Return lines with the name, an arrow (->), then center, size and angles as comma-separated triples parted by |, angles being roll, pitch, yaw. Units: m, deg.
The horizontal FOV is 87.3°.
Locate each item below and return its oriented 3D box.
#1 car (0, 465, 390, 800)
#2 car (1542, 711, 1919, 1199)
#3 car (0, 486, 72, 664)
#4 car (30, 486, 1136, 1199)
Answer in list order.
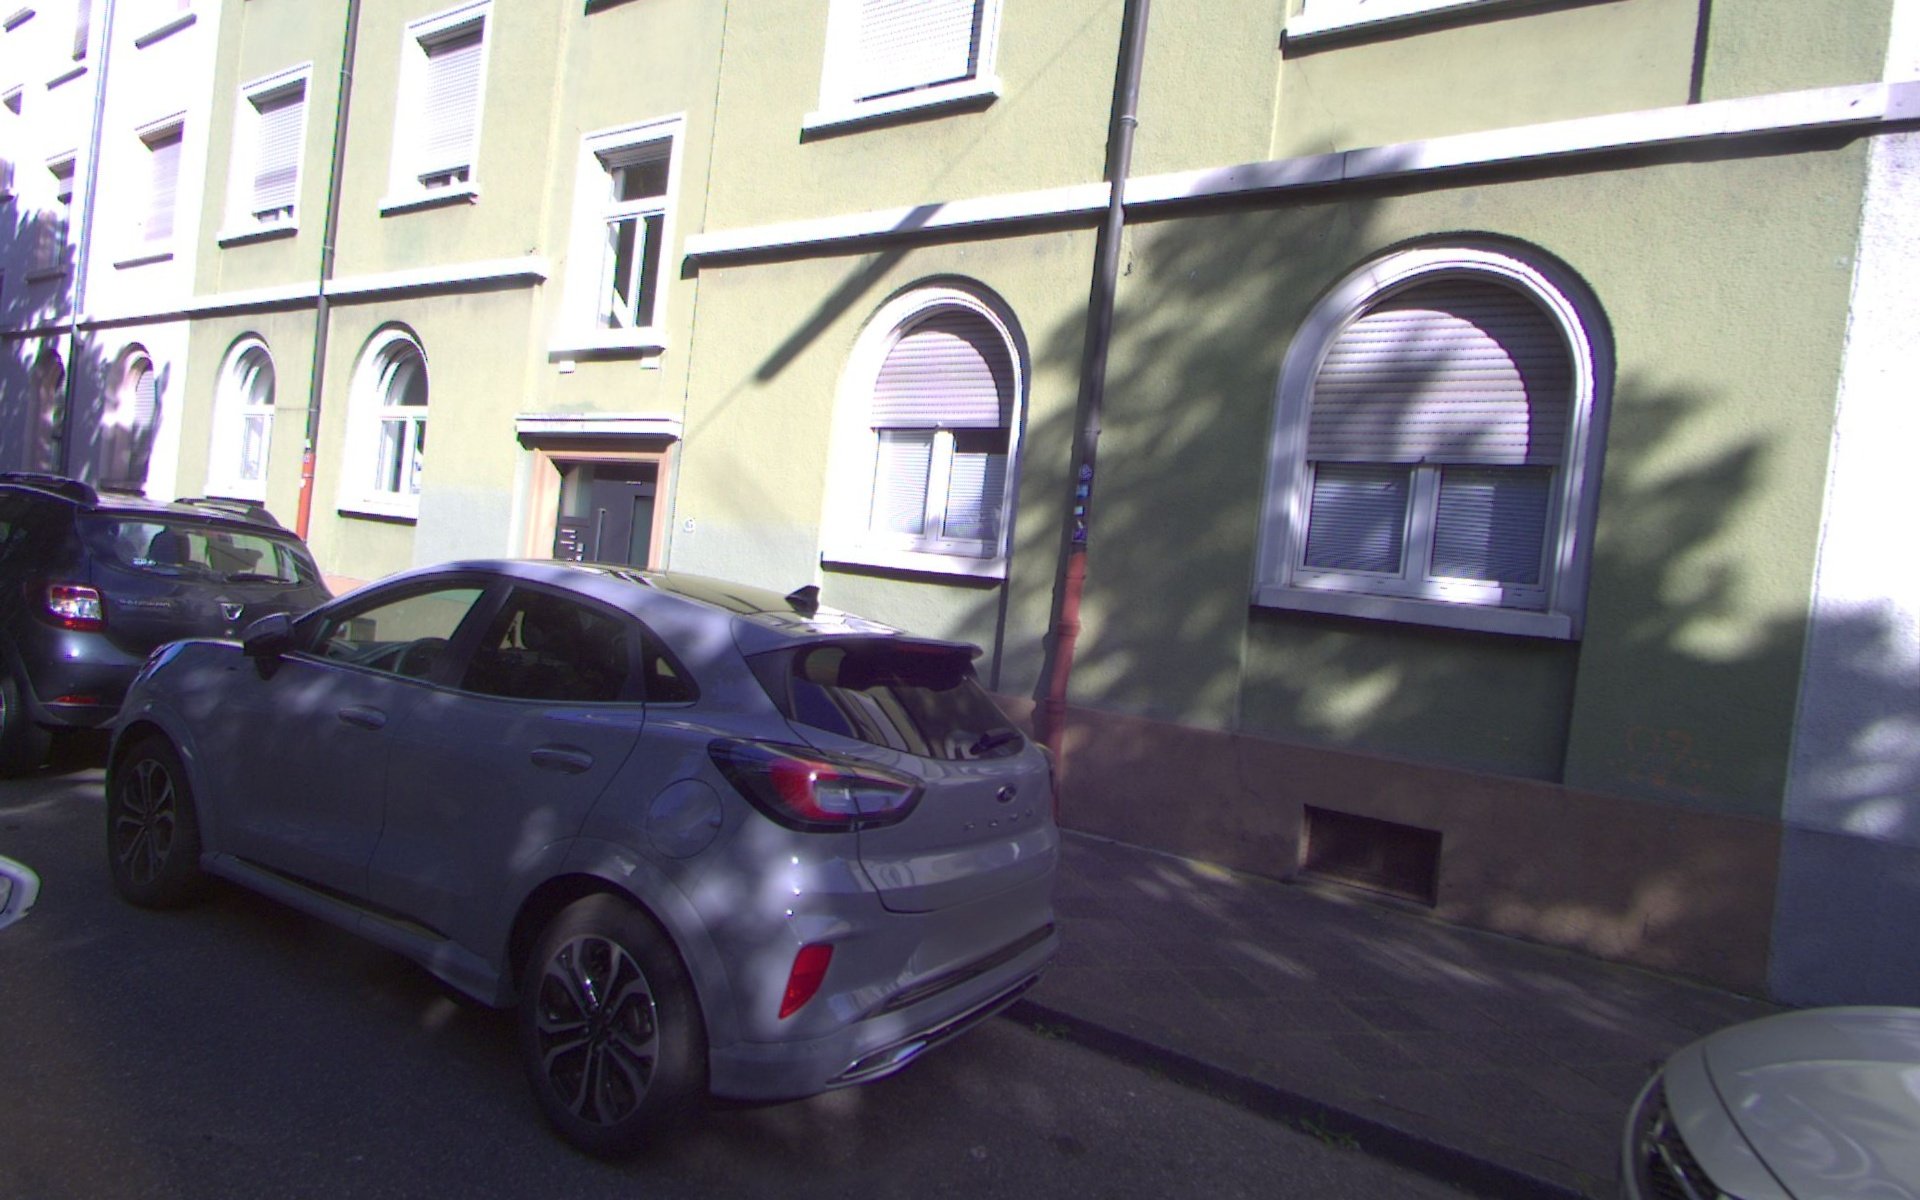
car -> -5.901, 0.009, 6.624 | 4.086, 1.616, 1.725 | 7, 0, 28
car -> 3.043, 1.185, 1.065 | 4.089, 1.450, 1.724 | 7, 0, 31
car -> -10.113, -0.427, 9.379 | 3.532, 1.553, 1.633 | 7, 0, 30
car -> -1.622, 0.566, 3.937 | 4.087, 1.547, 1.725 | 7, 0, 30
